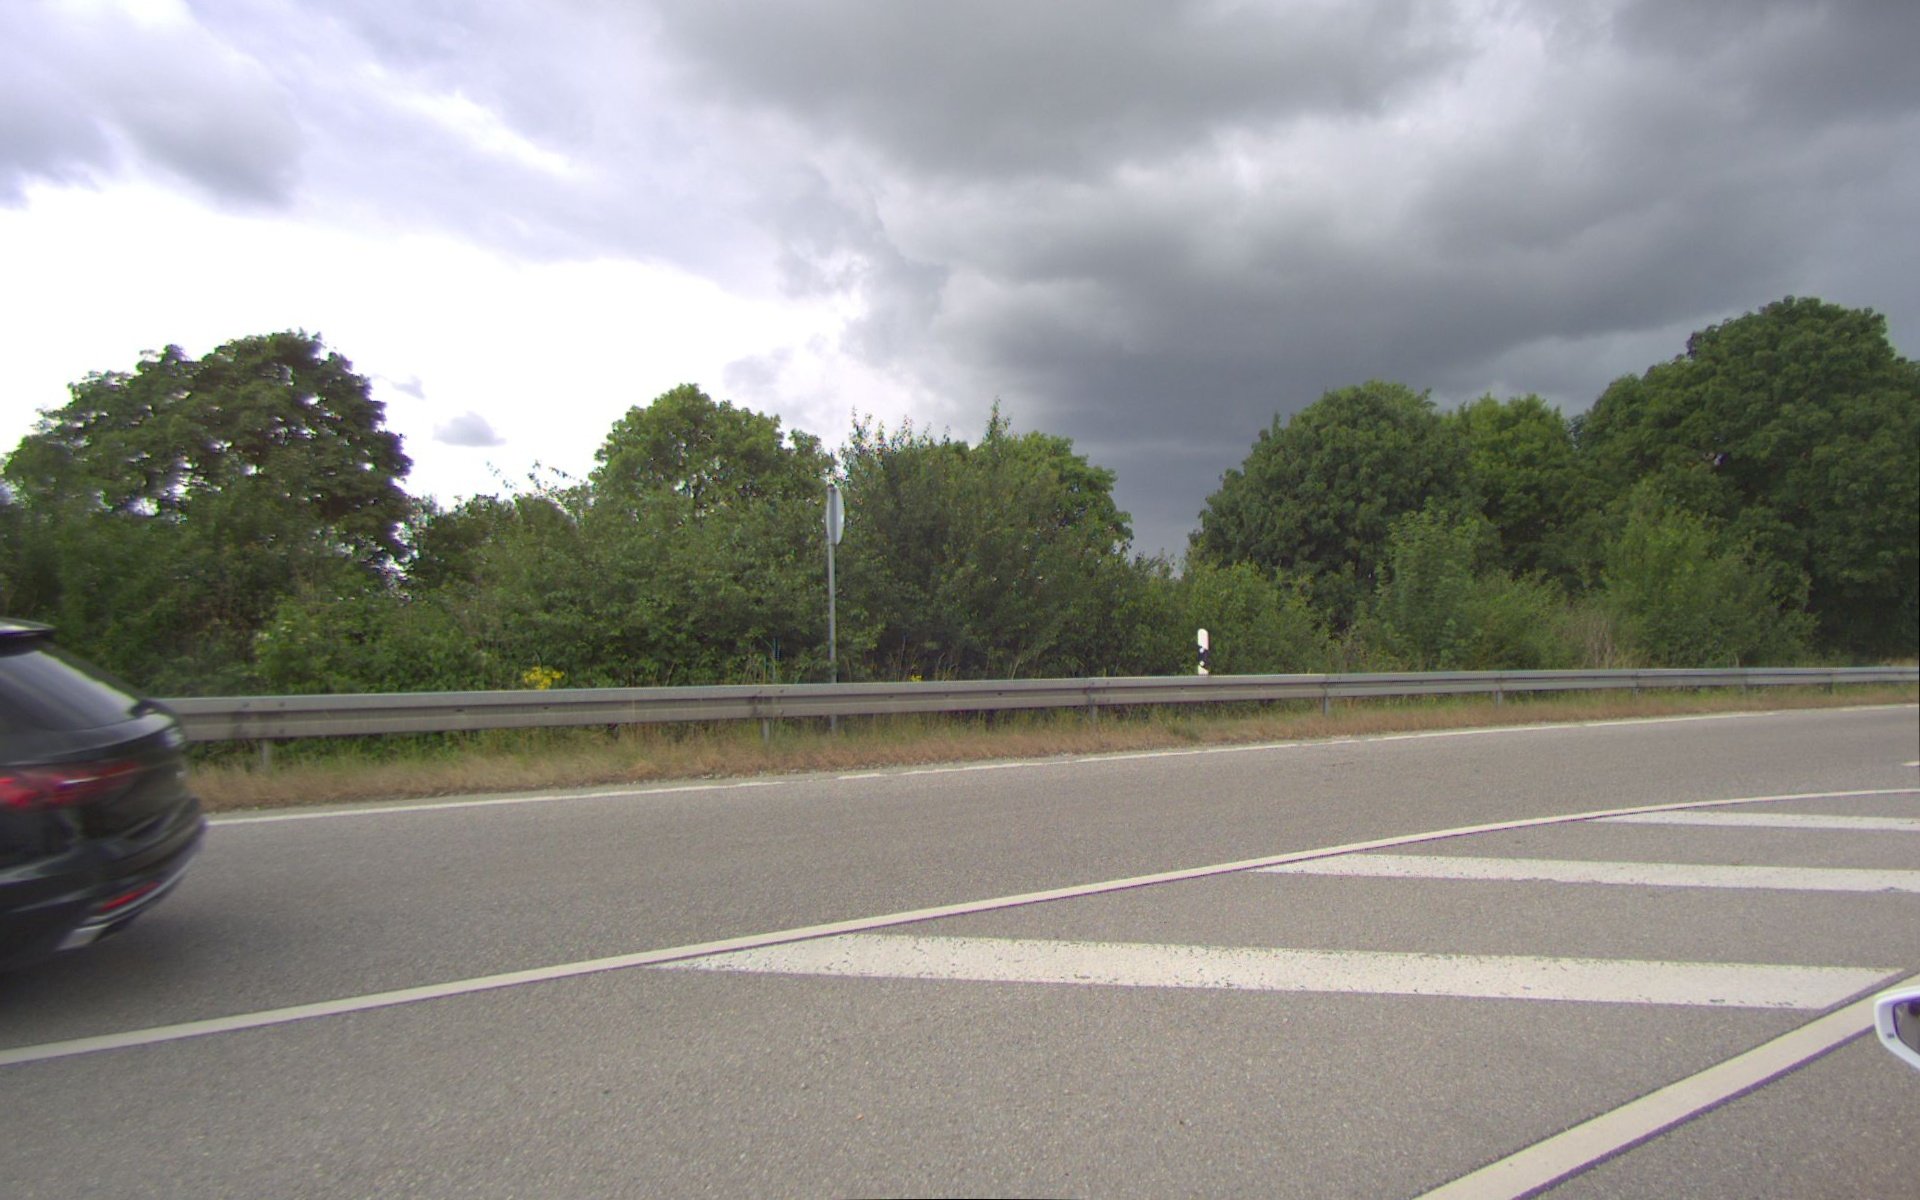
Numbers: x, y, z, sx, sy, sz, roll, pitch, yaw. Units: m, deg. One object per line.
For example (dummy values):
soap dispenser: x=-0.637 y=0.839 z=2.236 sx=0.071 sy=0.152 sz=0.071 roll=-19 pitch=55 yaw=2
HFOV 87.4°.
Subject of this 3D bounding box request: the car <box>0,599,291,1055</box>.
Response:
car: x=-4.873 y=0.660 z=3.044 sx=4.555 sy=1.392 sz=1.812 roll=2 pitch=-1 yaw=-29
